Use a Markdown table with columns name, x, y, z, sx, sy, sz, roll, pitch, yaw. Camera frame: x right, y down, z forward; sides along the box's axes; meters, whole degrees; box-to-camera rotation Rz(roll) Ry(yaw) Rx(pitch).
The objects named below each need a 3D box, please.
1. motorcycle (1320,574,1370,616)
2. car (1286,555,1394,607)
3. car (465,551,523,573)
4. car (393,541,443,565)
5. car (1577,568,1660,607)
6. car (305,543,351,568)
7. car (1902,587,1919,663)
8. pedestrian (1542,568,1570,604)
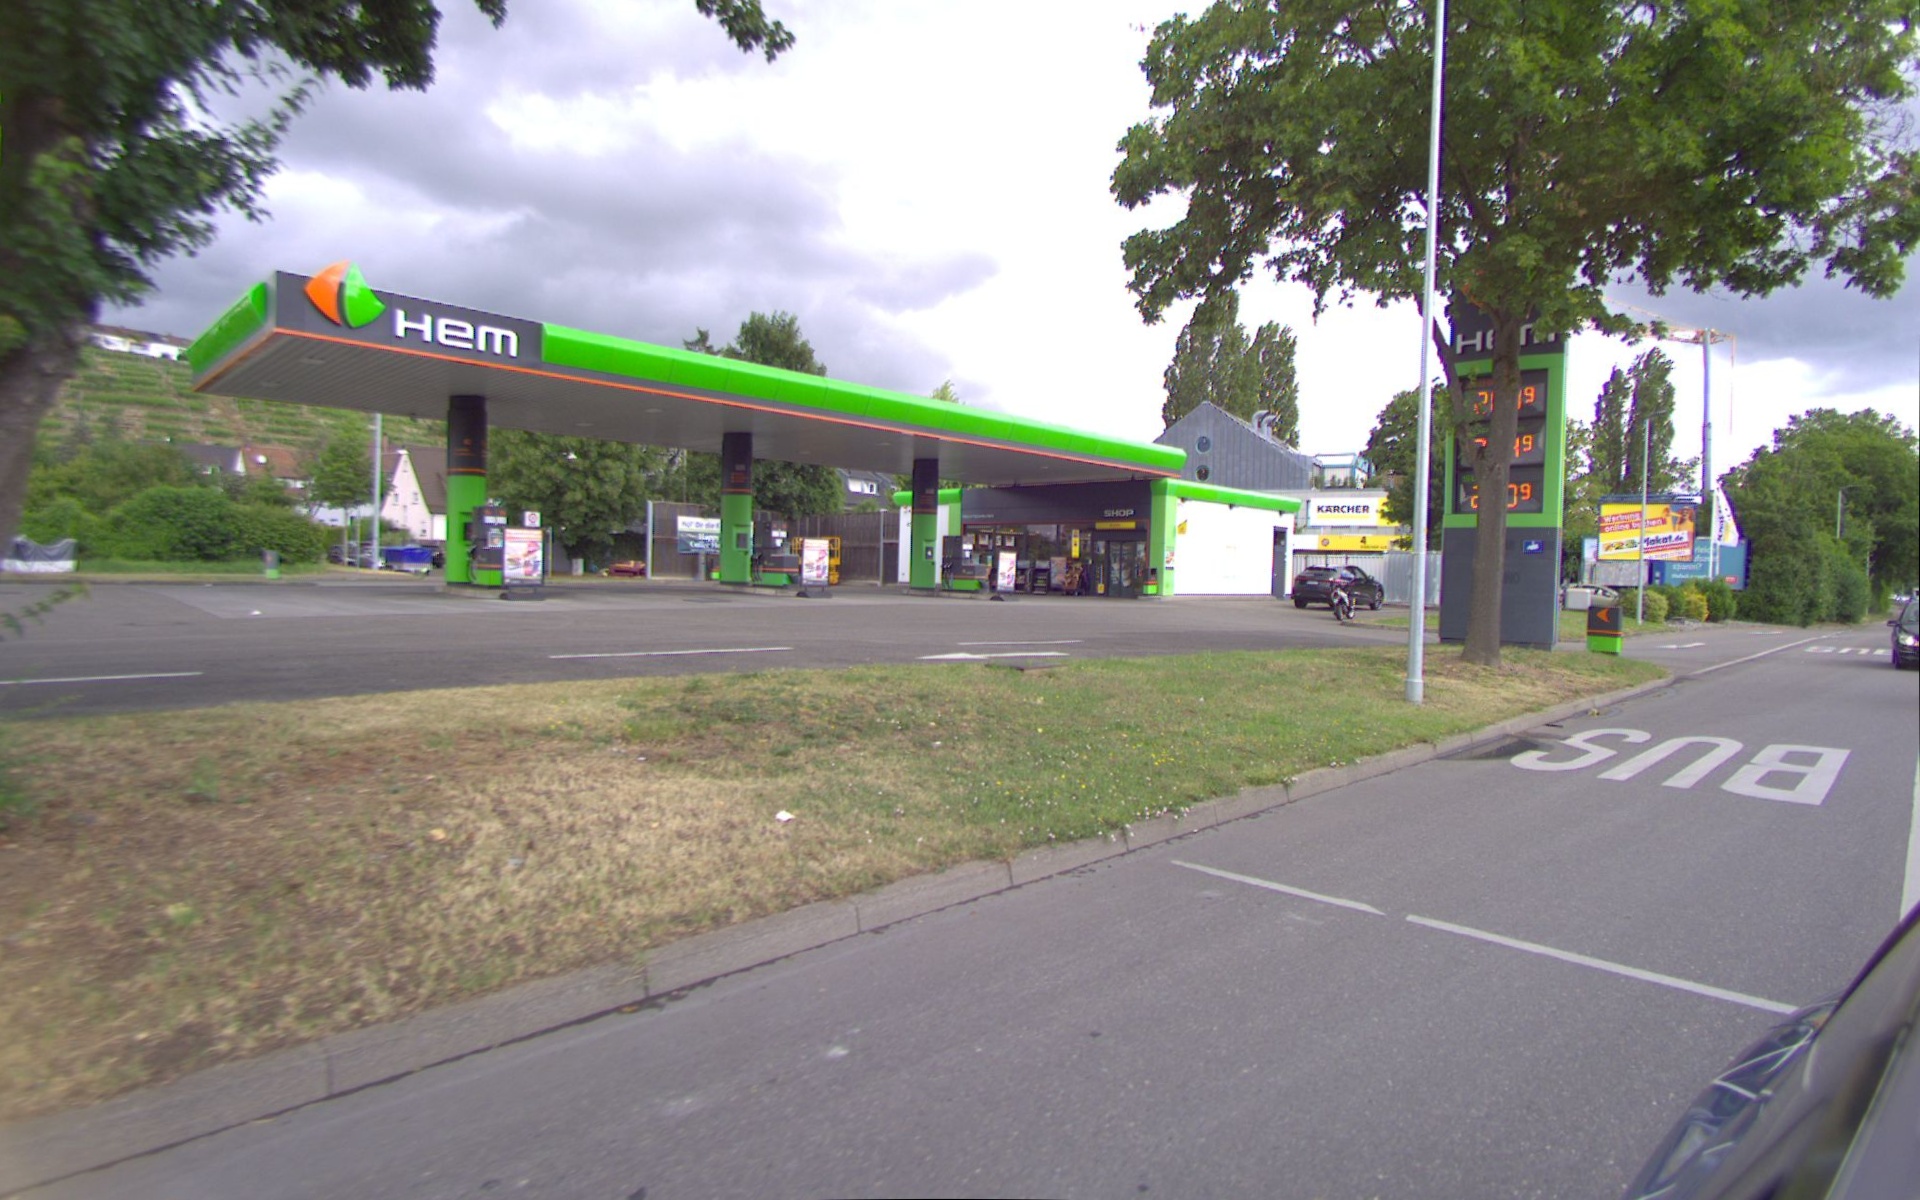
| name | x | y | z | sx | sy | sz | roll | pitch | yaw |
| --- | --- | --- | --- | --- | --- | --- | --- | --- | --- |
| motorcycle | 11.806 | -0.166 | 30.986 | 0.701 | 1.201 | 2.355 | 3 | 2 | 38 |
| car | 13.860 | -0.685 | 36.829 | 4.256 | 1.658 | 1.996 | 0 | 5 | -45 |
| car | -29.662 | -2.412 | 64.363 | 3.984 | 1.234 | 1.816 | 4 | 2 | 41 |
| car | -38.641 | -3.369 | 72.126 | 3.988 | 1.556 | 1.969 | 4 | 3 | 44 |
| car | 30.993 | -0.572 | 47.652 | 3.223 | 1.815 | 1.526 | 0 | 0 | 35 |
| car | -39.613 | -2.758 | 63.435 | 1.642 | 1.422 | 3.867 | 0 | 0 | -45 |
| car | 22.625 | 0.536 | 22.946 | 1.781 | 1.644 | 3.939 | 0 | 0 | 42 |
| pedestrian | 28.598 | -0.670 | 48.538 | 1.031 | 1.719 | 1.067 | 0 | 0 | 25 |
